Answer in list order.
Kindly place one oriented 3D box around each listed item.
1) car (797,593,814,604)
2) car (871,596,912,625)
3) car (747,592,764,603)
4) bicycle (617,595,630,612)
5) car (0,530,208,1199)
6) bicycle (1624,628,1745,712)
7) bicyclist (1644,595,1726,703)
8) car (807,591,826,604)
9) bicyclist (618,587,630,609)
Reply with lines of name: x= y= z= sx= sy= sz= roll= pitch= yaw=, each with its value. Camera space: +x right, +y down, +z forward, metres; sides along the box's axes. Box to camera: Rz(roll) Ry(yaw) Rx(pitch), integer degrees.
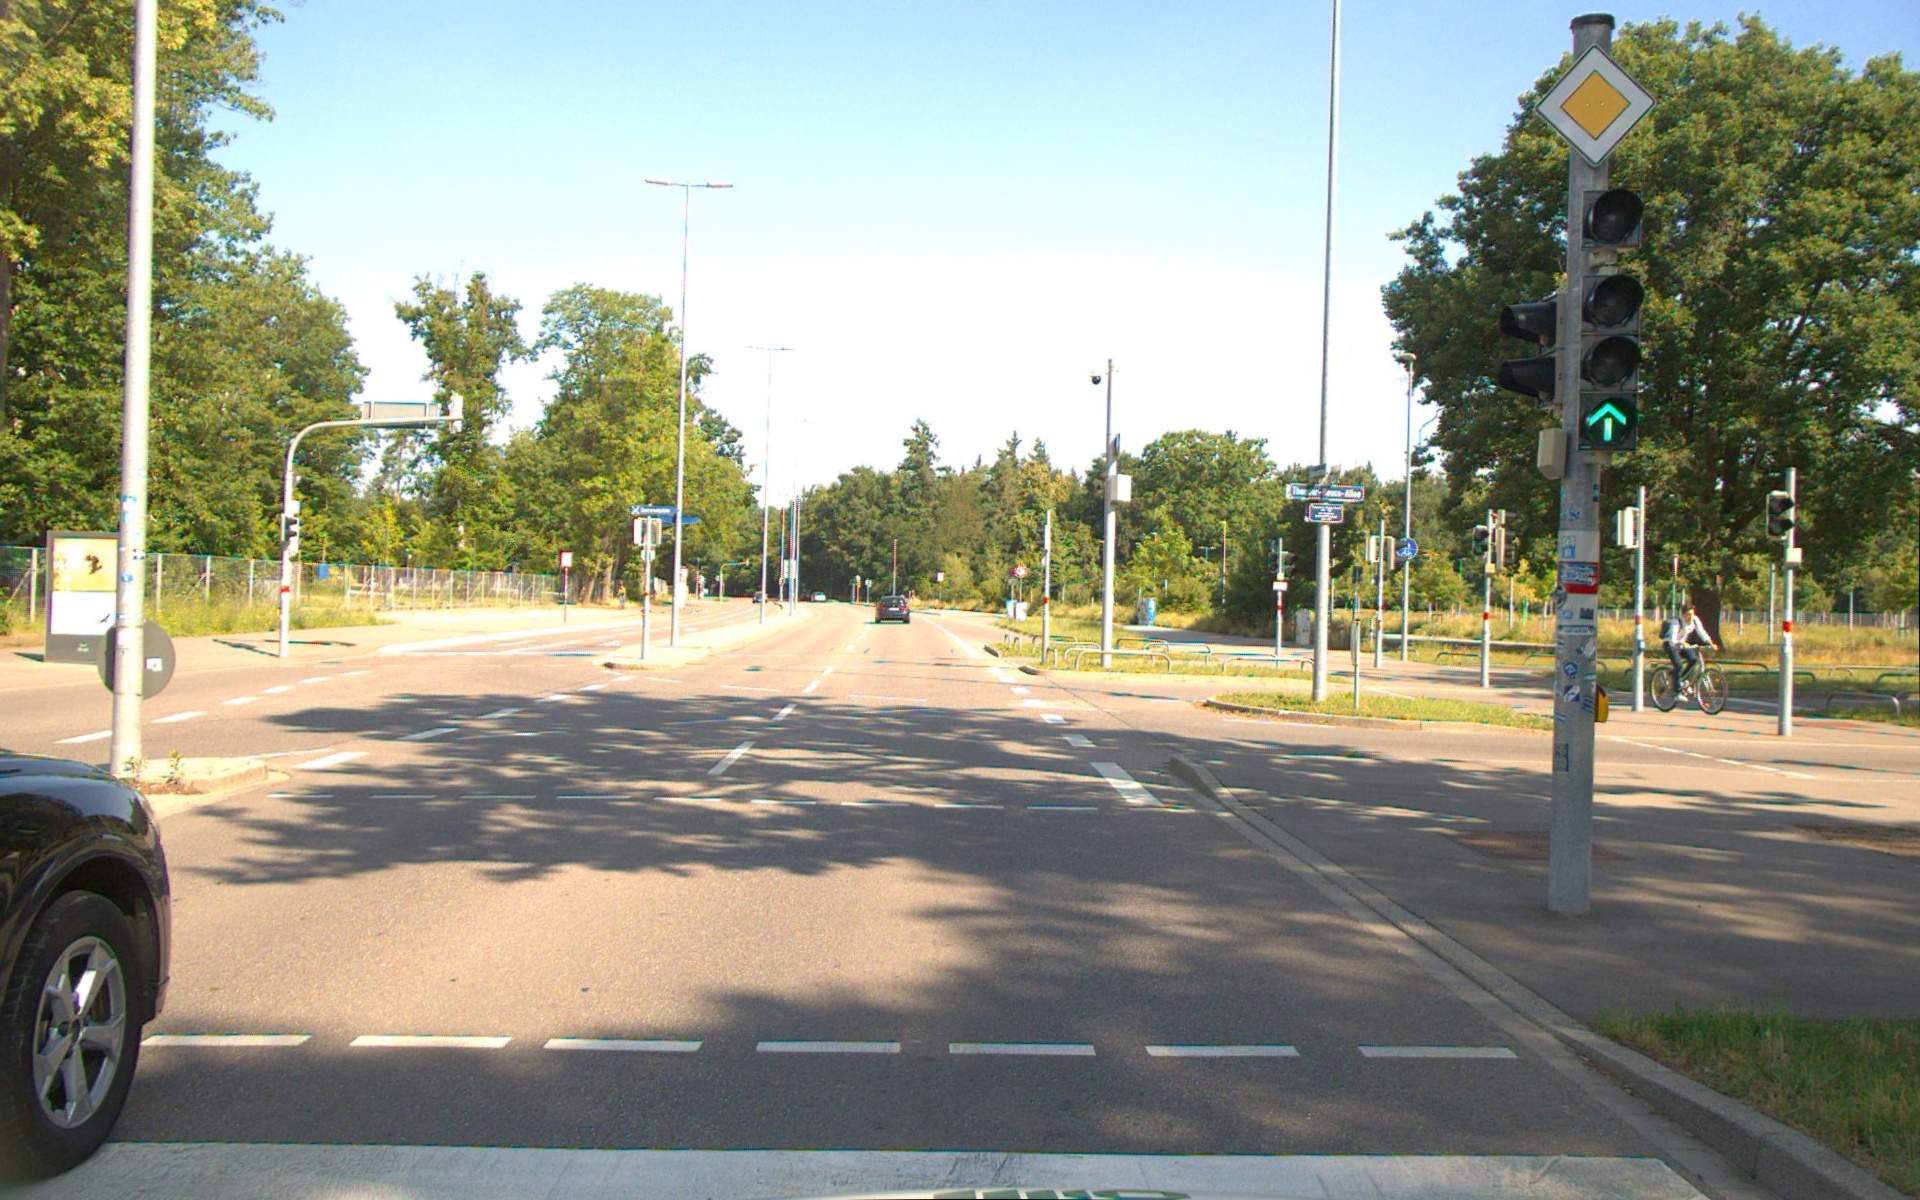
car: x=-24.075 y=-0.288 z=257.756 sx=1.959 sy=1.624 sz=3.986 roll=1 pitch=0 yaw=-14
car: x=-3.679 y=0.534 z=88.272 sx=1.903 sy=1.445 sz=4.287 roll=1 pitch=0 yaw=-6
car: x=-26.647 y=-0.319 z=215.762 sx=1.779 sy=1.412 sz=4.148 roll=-1 pitch=0 yaw=-12
bicycle: x=-22.873 y=0.233 z=112.431 sx=0.647 sy=1.155 sz=1.876 roll=3 pitch=0 yaw=-5
car: x=-2.962 y=0.631 z=2.659 sx=1.653 sy=1.571 sz=4.148 roll=0 pitch=0 yaw=-1
bicycle: x=11.468 y=1.094 z=26.260 sx=0.711 sy=1.220 sz=2.096 roll=1 pitch=0 yaw=-10
bicyclist: x=11.484 y=0.757 z=26.222 sx=0.711 sy=1.667 sz=1.055 roll=1 pitch=0 yaw=-10
car: x=-20.592 y=-0.346 z=237.205 sx=1.961 sy=1.780 sz=3.983 roll=1 pitch=0 yaw=-16
bicyclist: x=-22.842 y=-0.149 z=112.502 sx=0.647 sy=1.493 sz=1.056 roll=3 pitch=0 yaw=-5
